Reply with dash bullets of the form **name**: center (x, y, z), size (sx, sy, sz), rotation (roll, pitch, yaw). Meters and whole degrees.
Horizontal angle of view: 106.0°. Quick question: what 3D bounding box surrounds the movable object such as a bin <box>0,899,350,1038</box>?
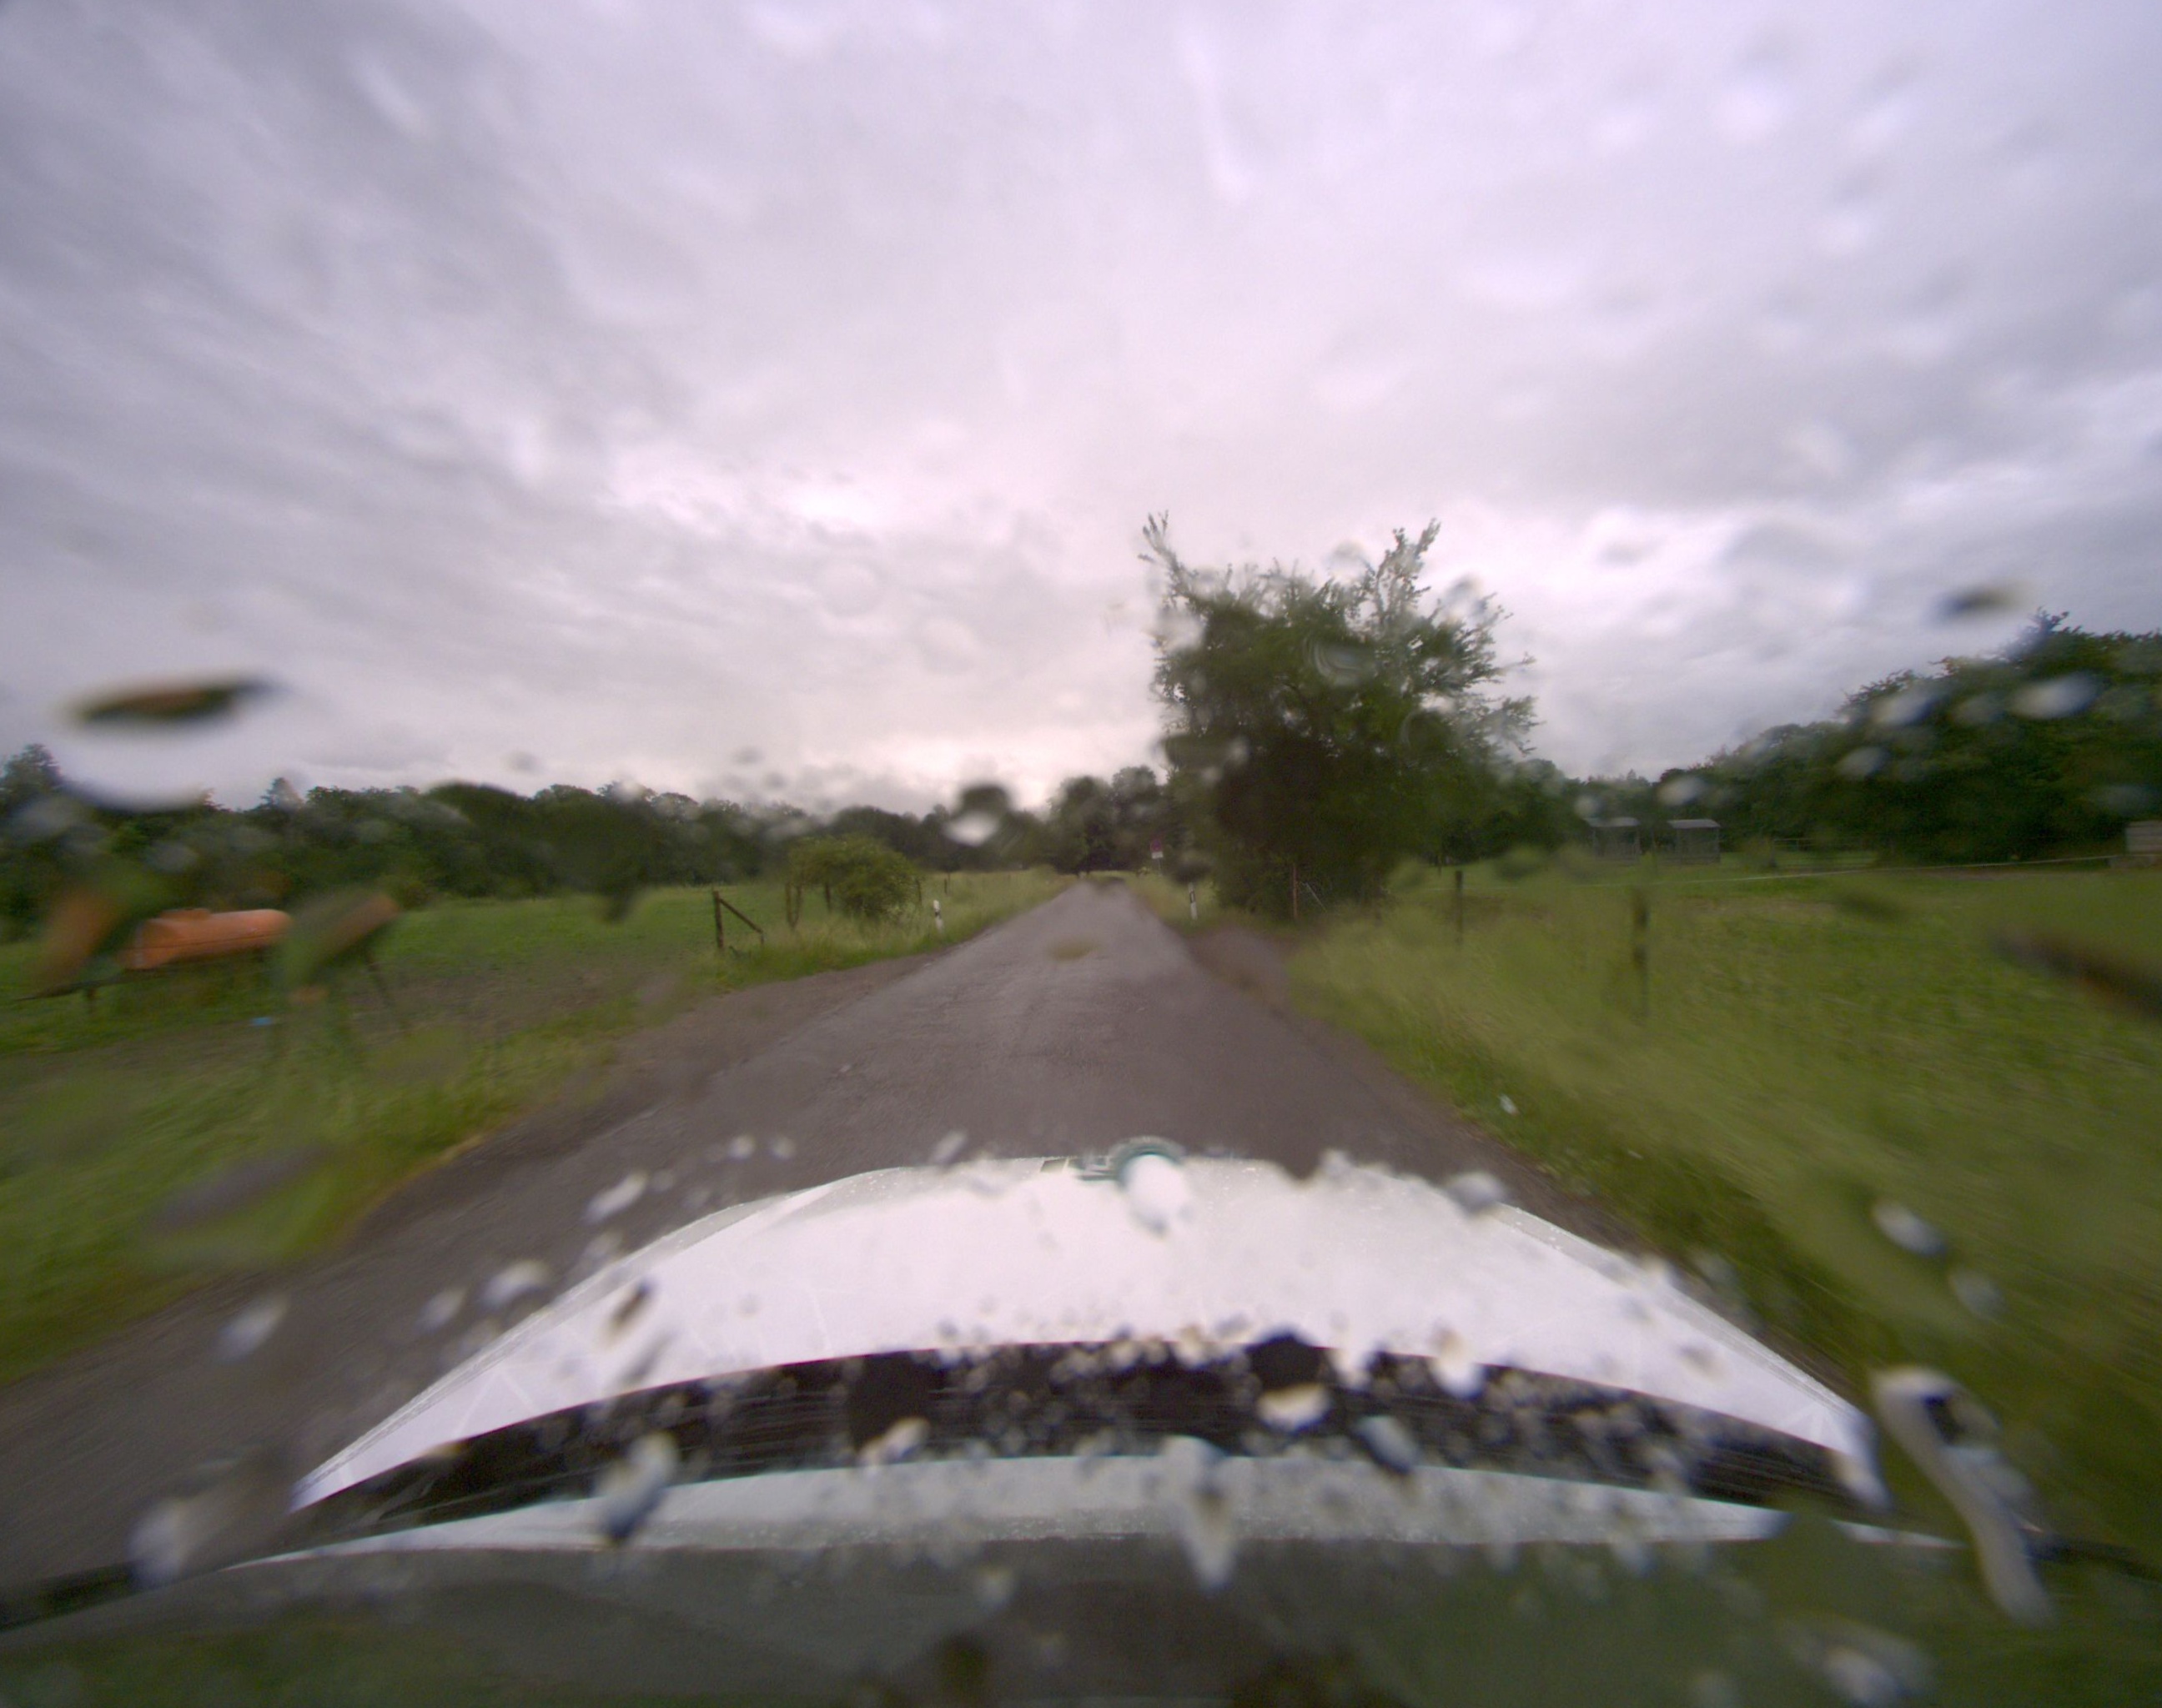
- **movable object such as a bin**: center (-13.011, 1.514, 11.770), size (1.673, 1.571, 3.537), rotation (-2, -2, 0)
